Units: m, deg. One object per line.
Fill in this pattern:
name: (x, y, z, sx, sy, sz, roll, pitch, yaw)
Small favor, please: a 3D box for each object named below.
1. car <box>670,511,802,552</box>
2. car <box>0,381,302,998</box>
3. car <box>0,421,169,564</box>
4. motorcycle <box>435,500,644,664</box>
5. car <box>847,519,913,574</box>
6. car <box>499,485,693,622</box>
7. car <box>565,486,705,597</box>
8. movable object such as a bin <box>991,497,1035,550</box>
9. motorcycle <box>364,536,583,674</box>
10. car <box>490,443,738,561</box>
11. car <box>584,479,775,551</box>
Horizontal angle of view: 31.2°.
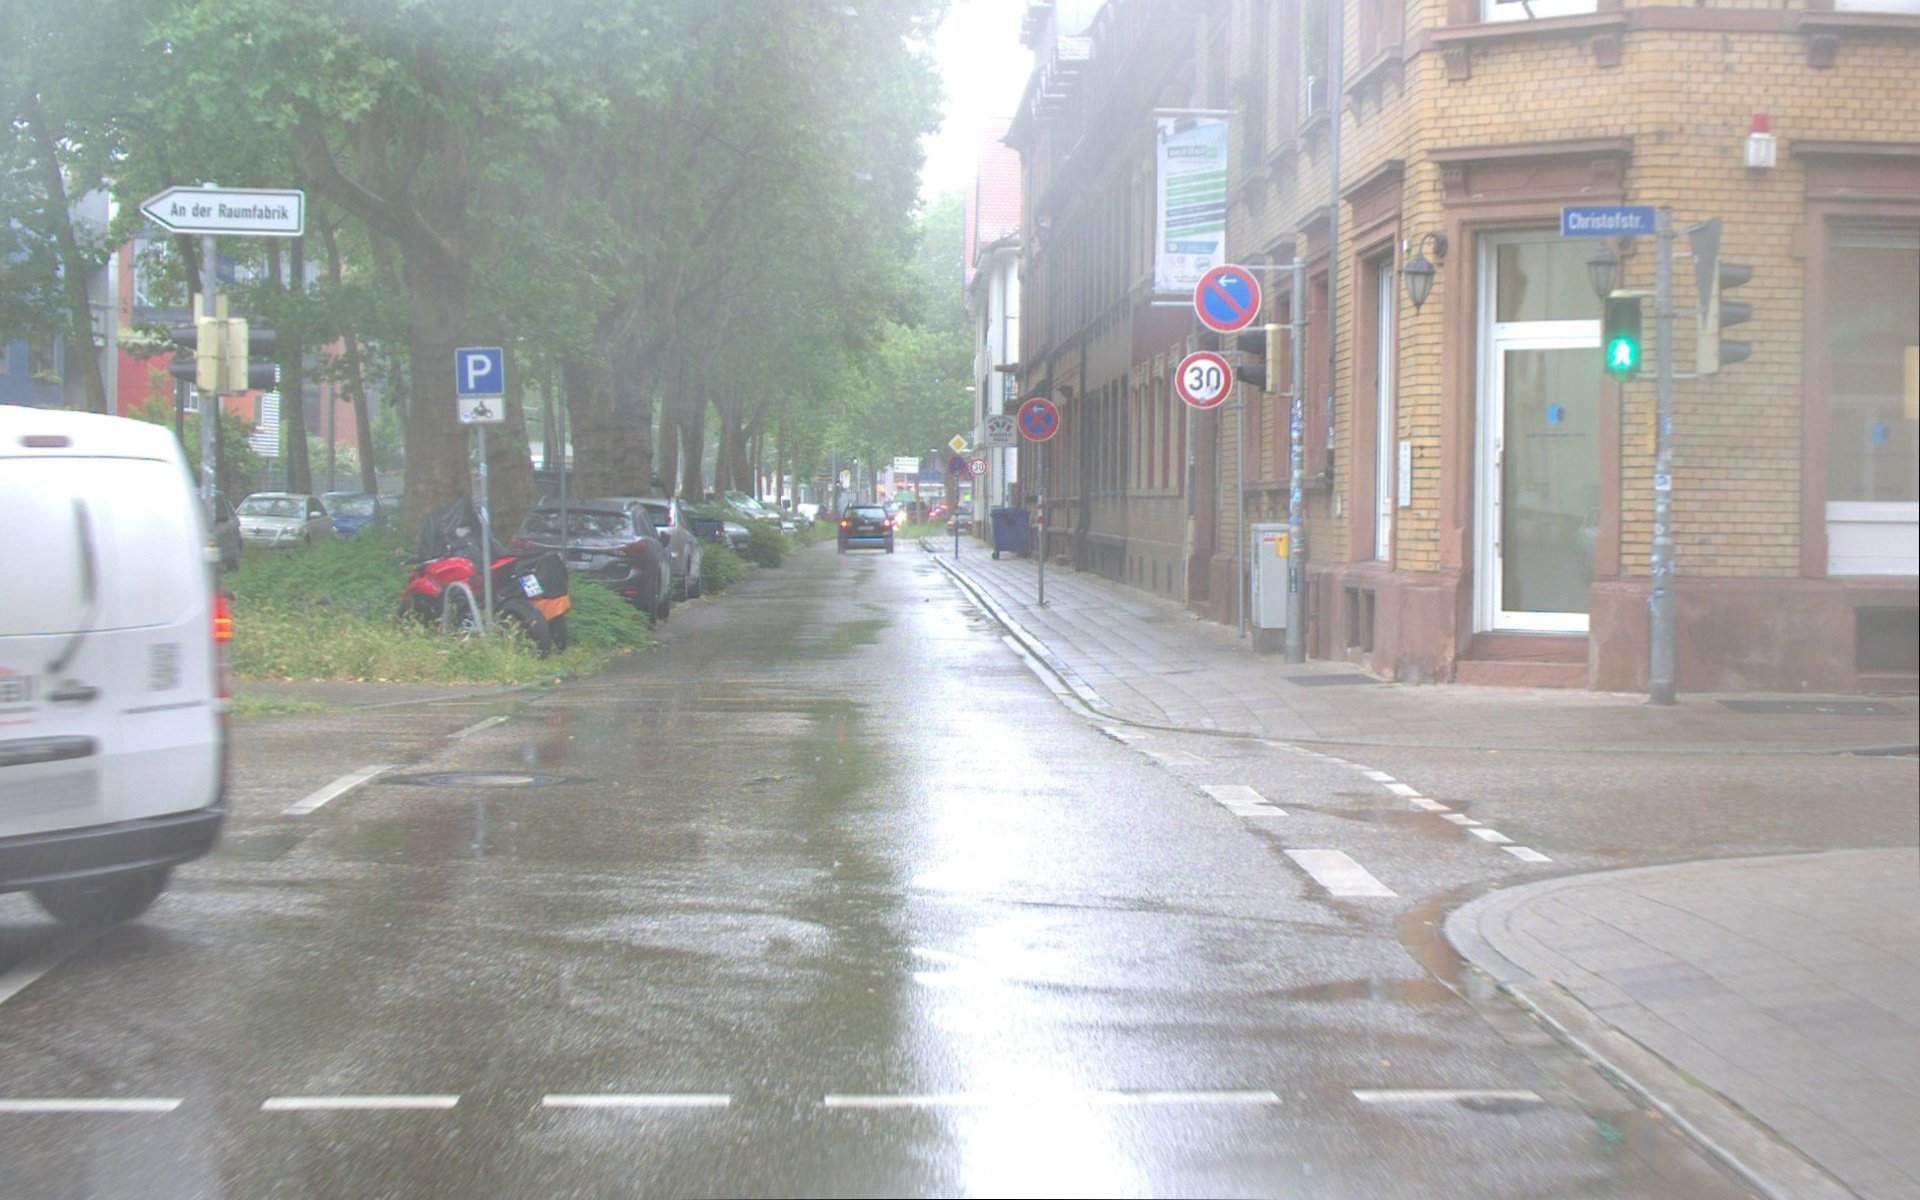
car: (-8.144, -2.499, 124.973, 4.553, 1.477, 1.772, 1, 1, 29)
car: (-4.435, 0.191, 11.584, 4.060, 1.843, 1.935, 2, 2, 31)
car: (-13.572, -1.660, 52.564, 2.053, 1.990, 5.436, 3, 2, -5)
motorcycle: (-4.078, -0.187, 33.264, 2.108, 1.495, 0.769, 3, 1, 42)
car: (-2.519, -1.697, 108.088, 1.993, 1.634, 4.000, 2, 1, -2)
car: (-4.324, -0.599, 41.416, 1.896, 1.480, 4.622, 2, 2, -1)
car: (-4.780, -0.888, 51.040, 1.729, 1.509, 4.208, 2, 2, -1)
movable object such as a bin: (1.366, -1.981, 89.078, 1.021, 1.297, 1.367, -2, 2, -1)
motorcycle: (-4.624, 0.038, 32.581, 2.141, 1.205, 0.867, 3, 1, 43)
car: (-6.919, -1.966, 68.593, 4.653, 2.275, 2.008, 1, 2, 32)
car: (-6.532, -1.981, 80.052, 4.059, 1.532, 1.832, 3, 2, 29)
